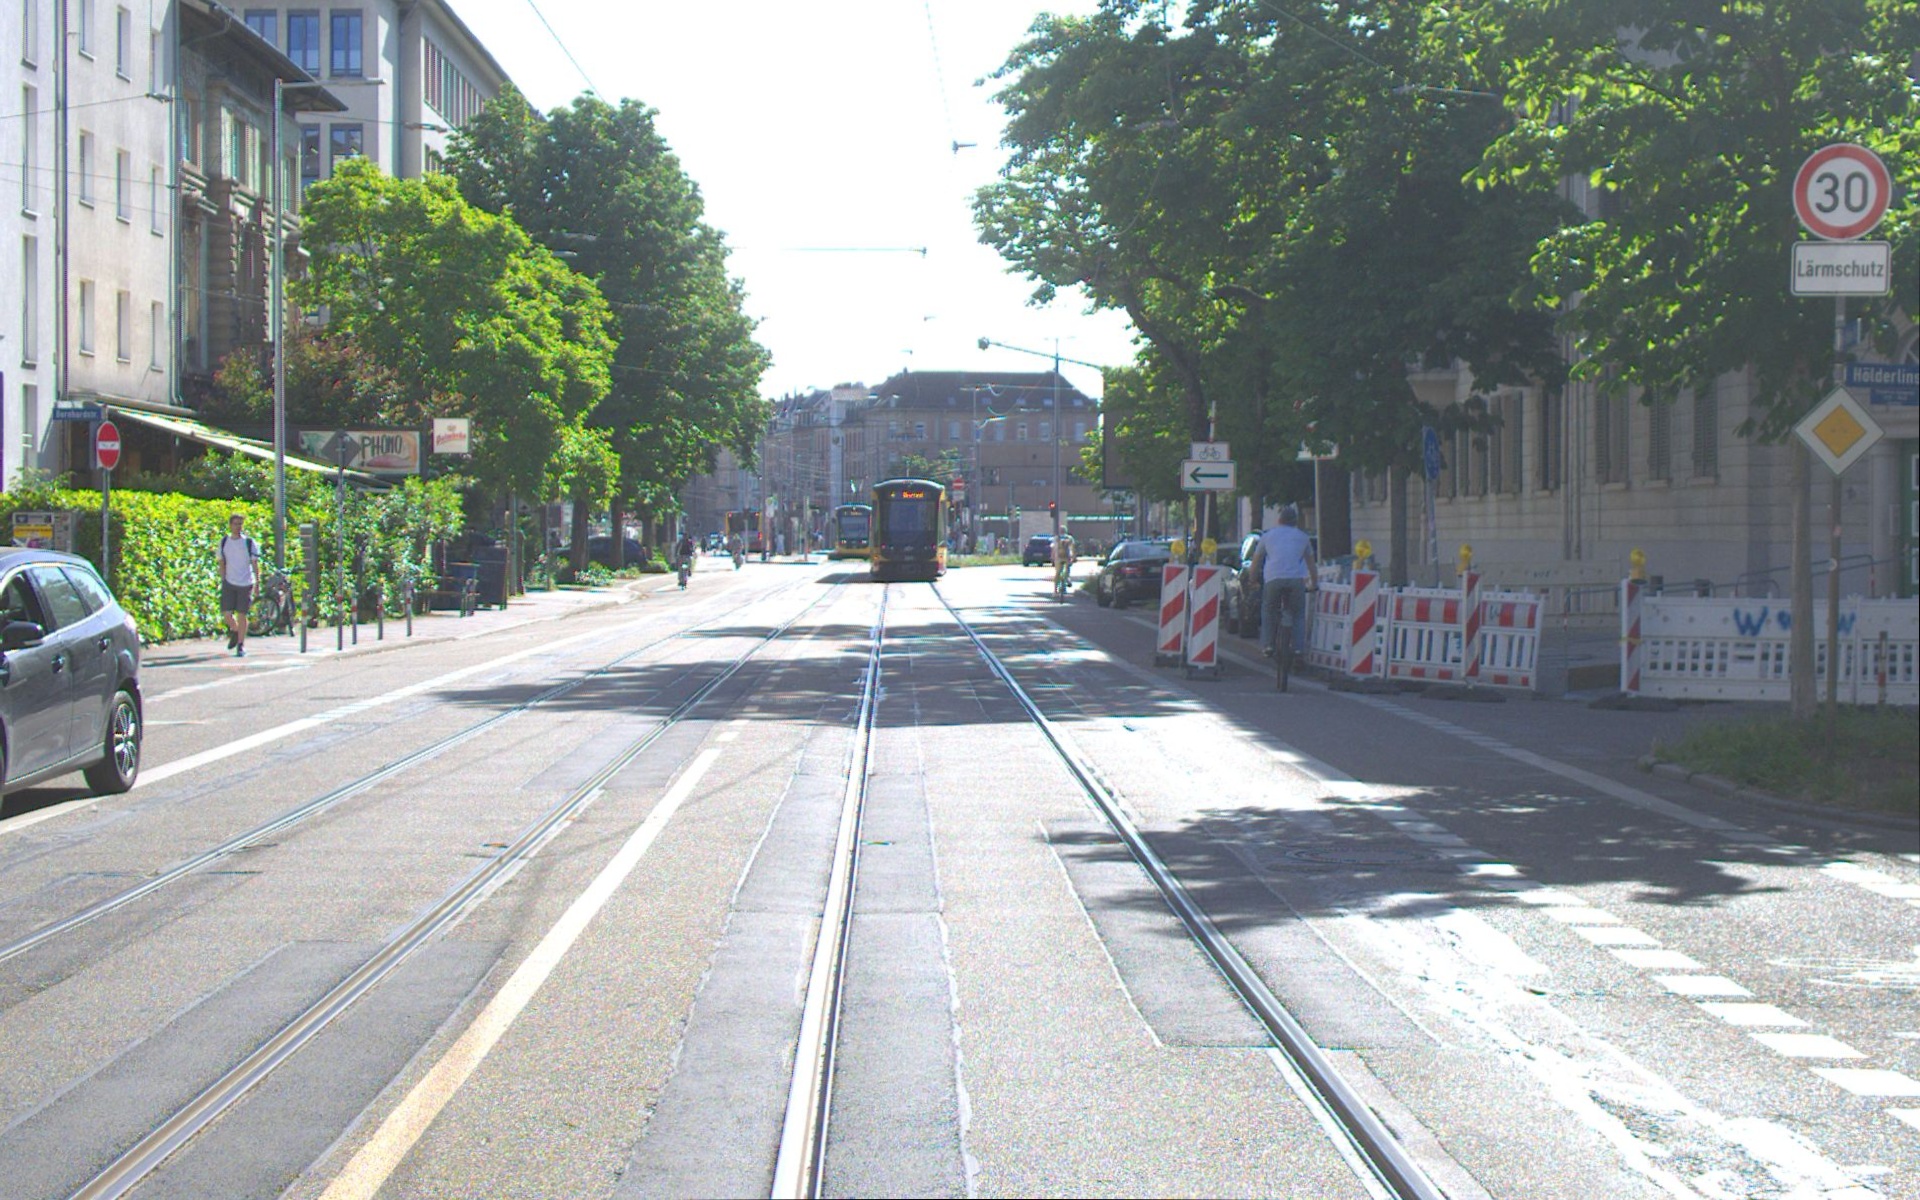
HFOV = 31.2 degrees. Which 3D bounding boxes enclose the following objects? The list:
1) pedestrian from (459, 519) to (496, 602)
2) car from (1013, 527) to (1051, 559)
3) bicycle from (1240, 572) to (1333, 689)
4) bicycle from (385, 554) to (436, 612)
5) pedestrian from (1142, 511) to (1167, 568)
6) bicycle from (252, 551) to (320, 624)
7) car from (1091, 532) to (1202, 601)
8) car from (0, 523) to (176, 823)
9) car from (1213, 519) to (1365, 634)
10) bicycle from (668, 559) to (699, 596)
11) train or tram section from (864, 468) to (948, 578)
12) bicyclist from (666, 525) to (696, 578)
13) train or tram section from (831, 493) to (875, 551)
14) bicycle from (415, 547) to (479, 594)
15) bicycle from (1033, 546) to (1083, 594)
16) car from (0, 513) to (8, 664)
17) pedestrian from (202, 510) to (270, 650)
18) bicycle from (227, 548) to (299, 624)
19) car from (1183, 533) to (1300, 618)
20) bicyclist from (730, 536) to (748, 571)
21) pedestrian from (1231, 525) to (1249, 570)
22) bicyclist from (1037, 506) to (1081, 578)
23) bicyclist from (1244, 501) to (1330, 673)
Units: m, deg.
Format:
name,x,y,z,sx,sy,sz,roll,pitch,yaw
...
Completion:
name,x,y,z,sx,sy,sz,roll,pitch,yaw
pedestrian,-10.760,-0.885,76.669,0.576,1.825,0.689,1,1,18
car,3.716,-2.943,177.858,1.789,1.599,3.712,2,1,3
bicycle,3.251,0.290,34.402,0.738,1.090,2.111,2,1,1
bicycle,-10.555,-0.334,66.071,0.638,1.055,1.743,3,1,0
pedestrian,6.331,-1.962,111.778,0.683,1.843,0.955,-1,1,-2
bicycle,-10.524,-0.201,53.727,0.661,1.086,1.840,3,0,0
car,4.143,-0.775,76.997,1.821,1.453,4.819,-2,1,-4
car,-5.940,0.384,19.260,1.864,1.571,4.588,-2,1,2
car,4.990,-0.390,52.644,1.810,1.620,4.584,-2,1,0
bicycle,-8.472,-0.684,105.277,0.745,1.078,1.899,-3,1,0
train or tram section,-2.003,-2.760,121.900,2.742,3.639,13.787,0,2,-2
bicyclist,-8.528,-1.492,105.270,0.745,1.594,1.118,-3,1,0
train or tram section,-6.931,-5.056,222.454,2.742,3.639,13.787,0,2,-2
bicycle,-11.470,-0.662,76.875,0.637,1.042,2.020,1,1,16
bicycle,2.341,-0.713,81.976,0.705,1.101,1.715,2,2,19
car,-13.597,-0.136,41.008,4.045,1.801,1.790,0,0,20
pedestrian,-9.193,-0.262,43.673,0.691,1.762,0.866,0,1,0
bicycle,-10.476,-0.207,51.692,0.661,1.086,1.840,3,0,0
car,4.911,-0.453,60.440,1.724,1.377,4.356,-1,1,1
bicyclist,-10.682,-2.238,165.953,0.687,1.639,1.237,-2,1,3
pedestrian,8.773,-1.636,107.720,0.518,1.399,0.764,0,1,2
bicyclist,2.361,-1.382,81.958,0.705,1.669,1.100,2,2,19
bicyclist,3.264,-0.139,34.382,0.738,1.680,0.972,2,1,1
